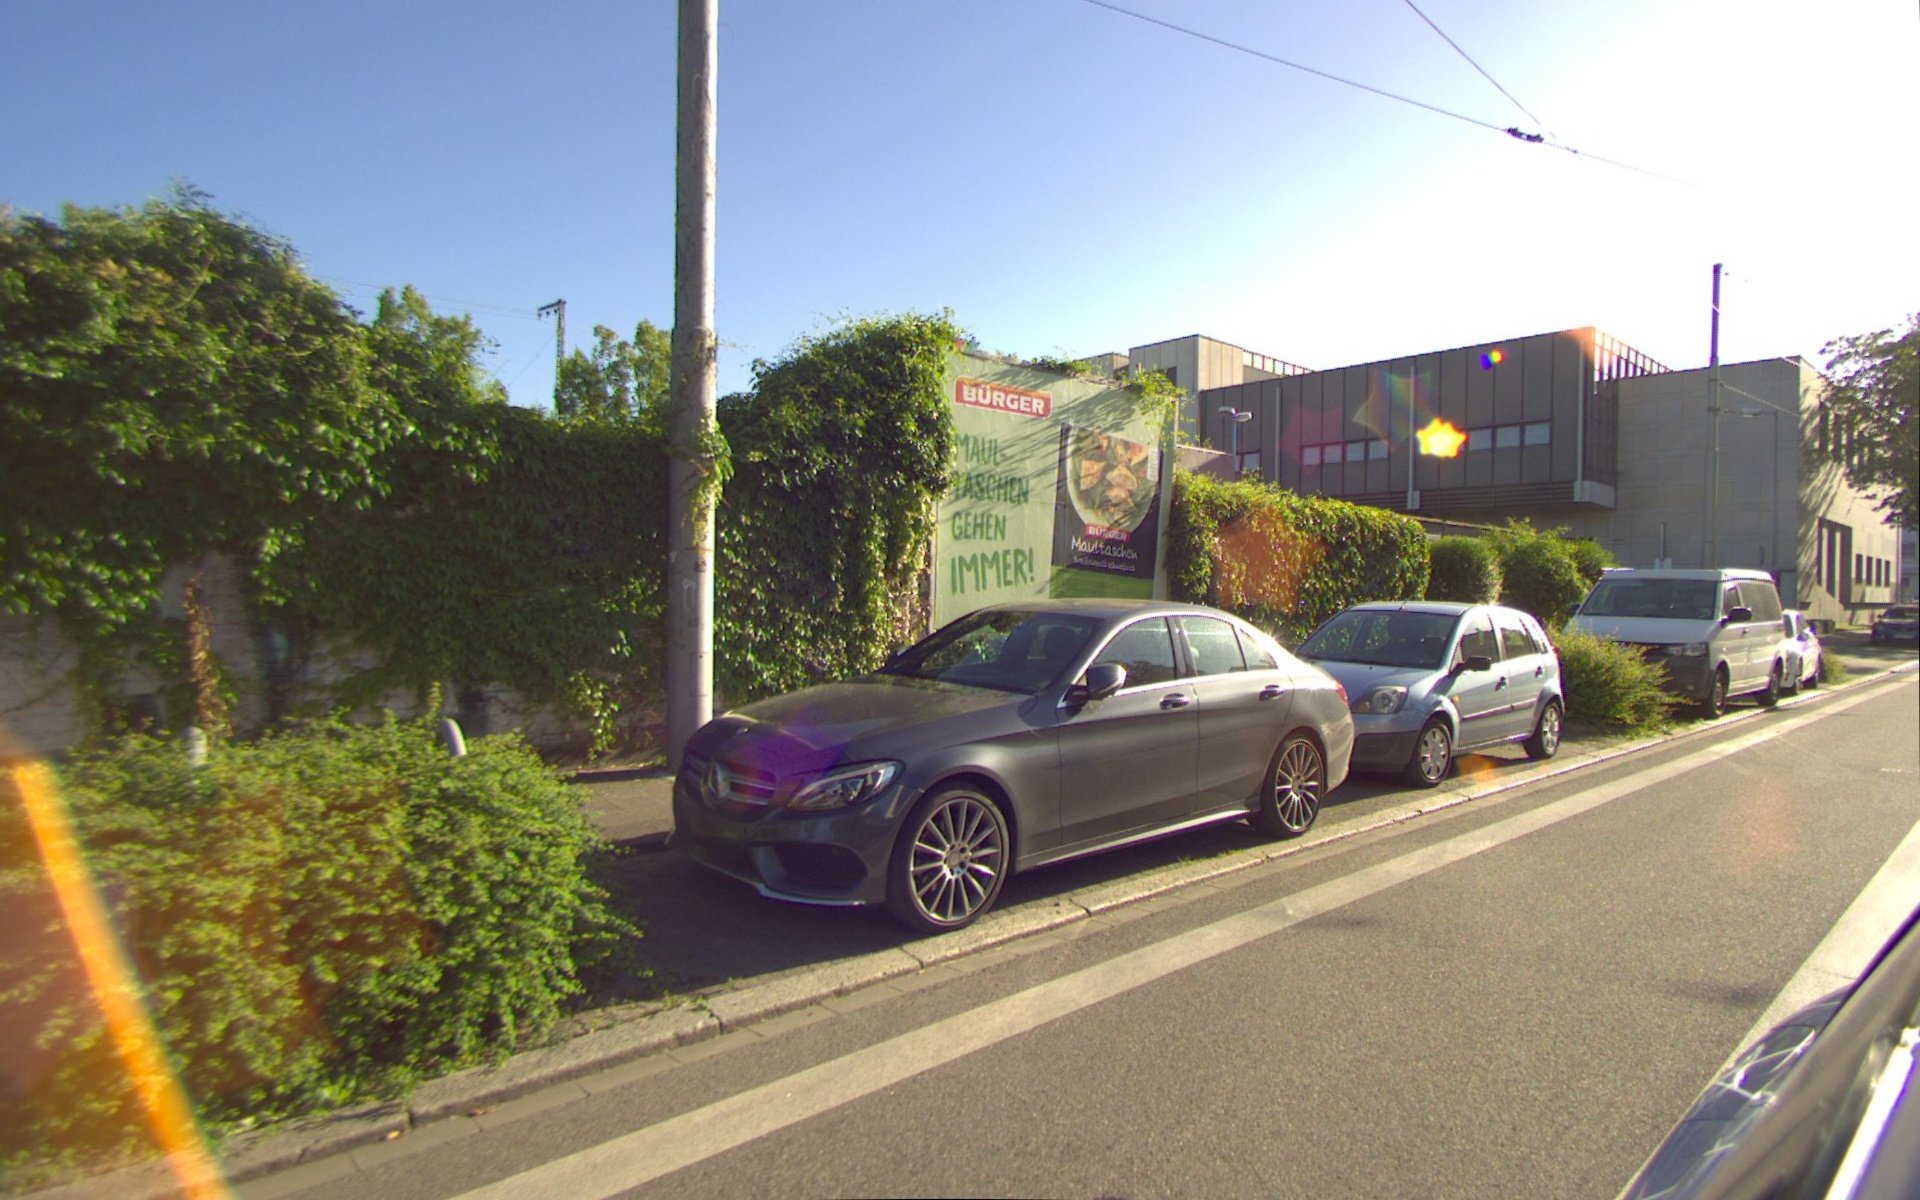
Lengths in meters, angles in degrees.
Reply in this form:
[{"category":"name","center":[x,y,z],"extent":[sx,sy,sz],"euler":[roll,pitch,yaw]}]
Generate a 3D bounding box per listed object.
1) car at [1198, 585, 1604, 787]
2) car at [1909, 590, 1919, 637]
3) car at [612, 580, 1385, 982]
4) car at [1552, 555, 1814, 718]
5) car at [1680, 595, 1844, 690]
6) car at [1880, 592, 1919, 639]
[{"category":"car","center":[4.238,0.618,9.486],"extent":[4.002,1.491,1.877],"euler":[-1,0,-39]},{"category":"car","center":[37.428,0.493,38.507],"extent":[4.207,1.733,1.743],"euler":[-1,1,-44]},{"category":"car","center":[0.515,0.654,5.960],"extent":[4.520,1.503,1.827],"euler":[-1,0,-40]},{"category":"car","center":[10.750,0.407,14.887],"extent":[5.148,2.016,1.858],"euler":[0,1,-39]},{"category":"car","center":[14.717,0.681,18.482],"extent":[4.427,1.435,1.678],"euler":[-1,3,-43]},{"category":"car","center":[33.337,0.516,34.983],"extent":[4.578,1.499,1.706],"euler":[-1,4,-41]}]
